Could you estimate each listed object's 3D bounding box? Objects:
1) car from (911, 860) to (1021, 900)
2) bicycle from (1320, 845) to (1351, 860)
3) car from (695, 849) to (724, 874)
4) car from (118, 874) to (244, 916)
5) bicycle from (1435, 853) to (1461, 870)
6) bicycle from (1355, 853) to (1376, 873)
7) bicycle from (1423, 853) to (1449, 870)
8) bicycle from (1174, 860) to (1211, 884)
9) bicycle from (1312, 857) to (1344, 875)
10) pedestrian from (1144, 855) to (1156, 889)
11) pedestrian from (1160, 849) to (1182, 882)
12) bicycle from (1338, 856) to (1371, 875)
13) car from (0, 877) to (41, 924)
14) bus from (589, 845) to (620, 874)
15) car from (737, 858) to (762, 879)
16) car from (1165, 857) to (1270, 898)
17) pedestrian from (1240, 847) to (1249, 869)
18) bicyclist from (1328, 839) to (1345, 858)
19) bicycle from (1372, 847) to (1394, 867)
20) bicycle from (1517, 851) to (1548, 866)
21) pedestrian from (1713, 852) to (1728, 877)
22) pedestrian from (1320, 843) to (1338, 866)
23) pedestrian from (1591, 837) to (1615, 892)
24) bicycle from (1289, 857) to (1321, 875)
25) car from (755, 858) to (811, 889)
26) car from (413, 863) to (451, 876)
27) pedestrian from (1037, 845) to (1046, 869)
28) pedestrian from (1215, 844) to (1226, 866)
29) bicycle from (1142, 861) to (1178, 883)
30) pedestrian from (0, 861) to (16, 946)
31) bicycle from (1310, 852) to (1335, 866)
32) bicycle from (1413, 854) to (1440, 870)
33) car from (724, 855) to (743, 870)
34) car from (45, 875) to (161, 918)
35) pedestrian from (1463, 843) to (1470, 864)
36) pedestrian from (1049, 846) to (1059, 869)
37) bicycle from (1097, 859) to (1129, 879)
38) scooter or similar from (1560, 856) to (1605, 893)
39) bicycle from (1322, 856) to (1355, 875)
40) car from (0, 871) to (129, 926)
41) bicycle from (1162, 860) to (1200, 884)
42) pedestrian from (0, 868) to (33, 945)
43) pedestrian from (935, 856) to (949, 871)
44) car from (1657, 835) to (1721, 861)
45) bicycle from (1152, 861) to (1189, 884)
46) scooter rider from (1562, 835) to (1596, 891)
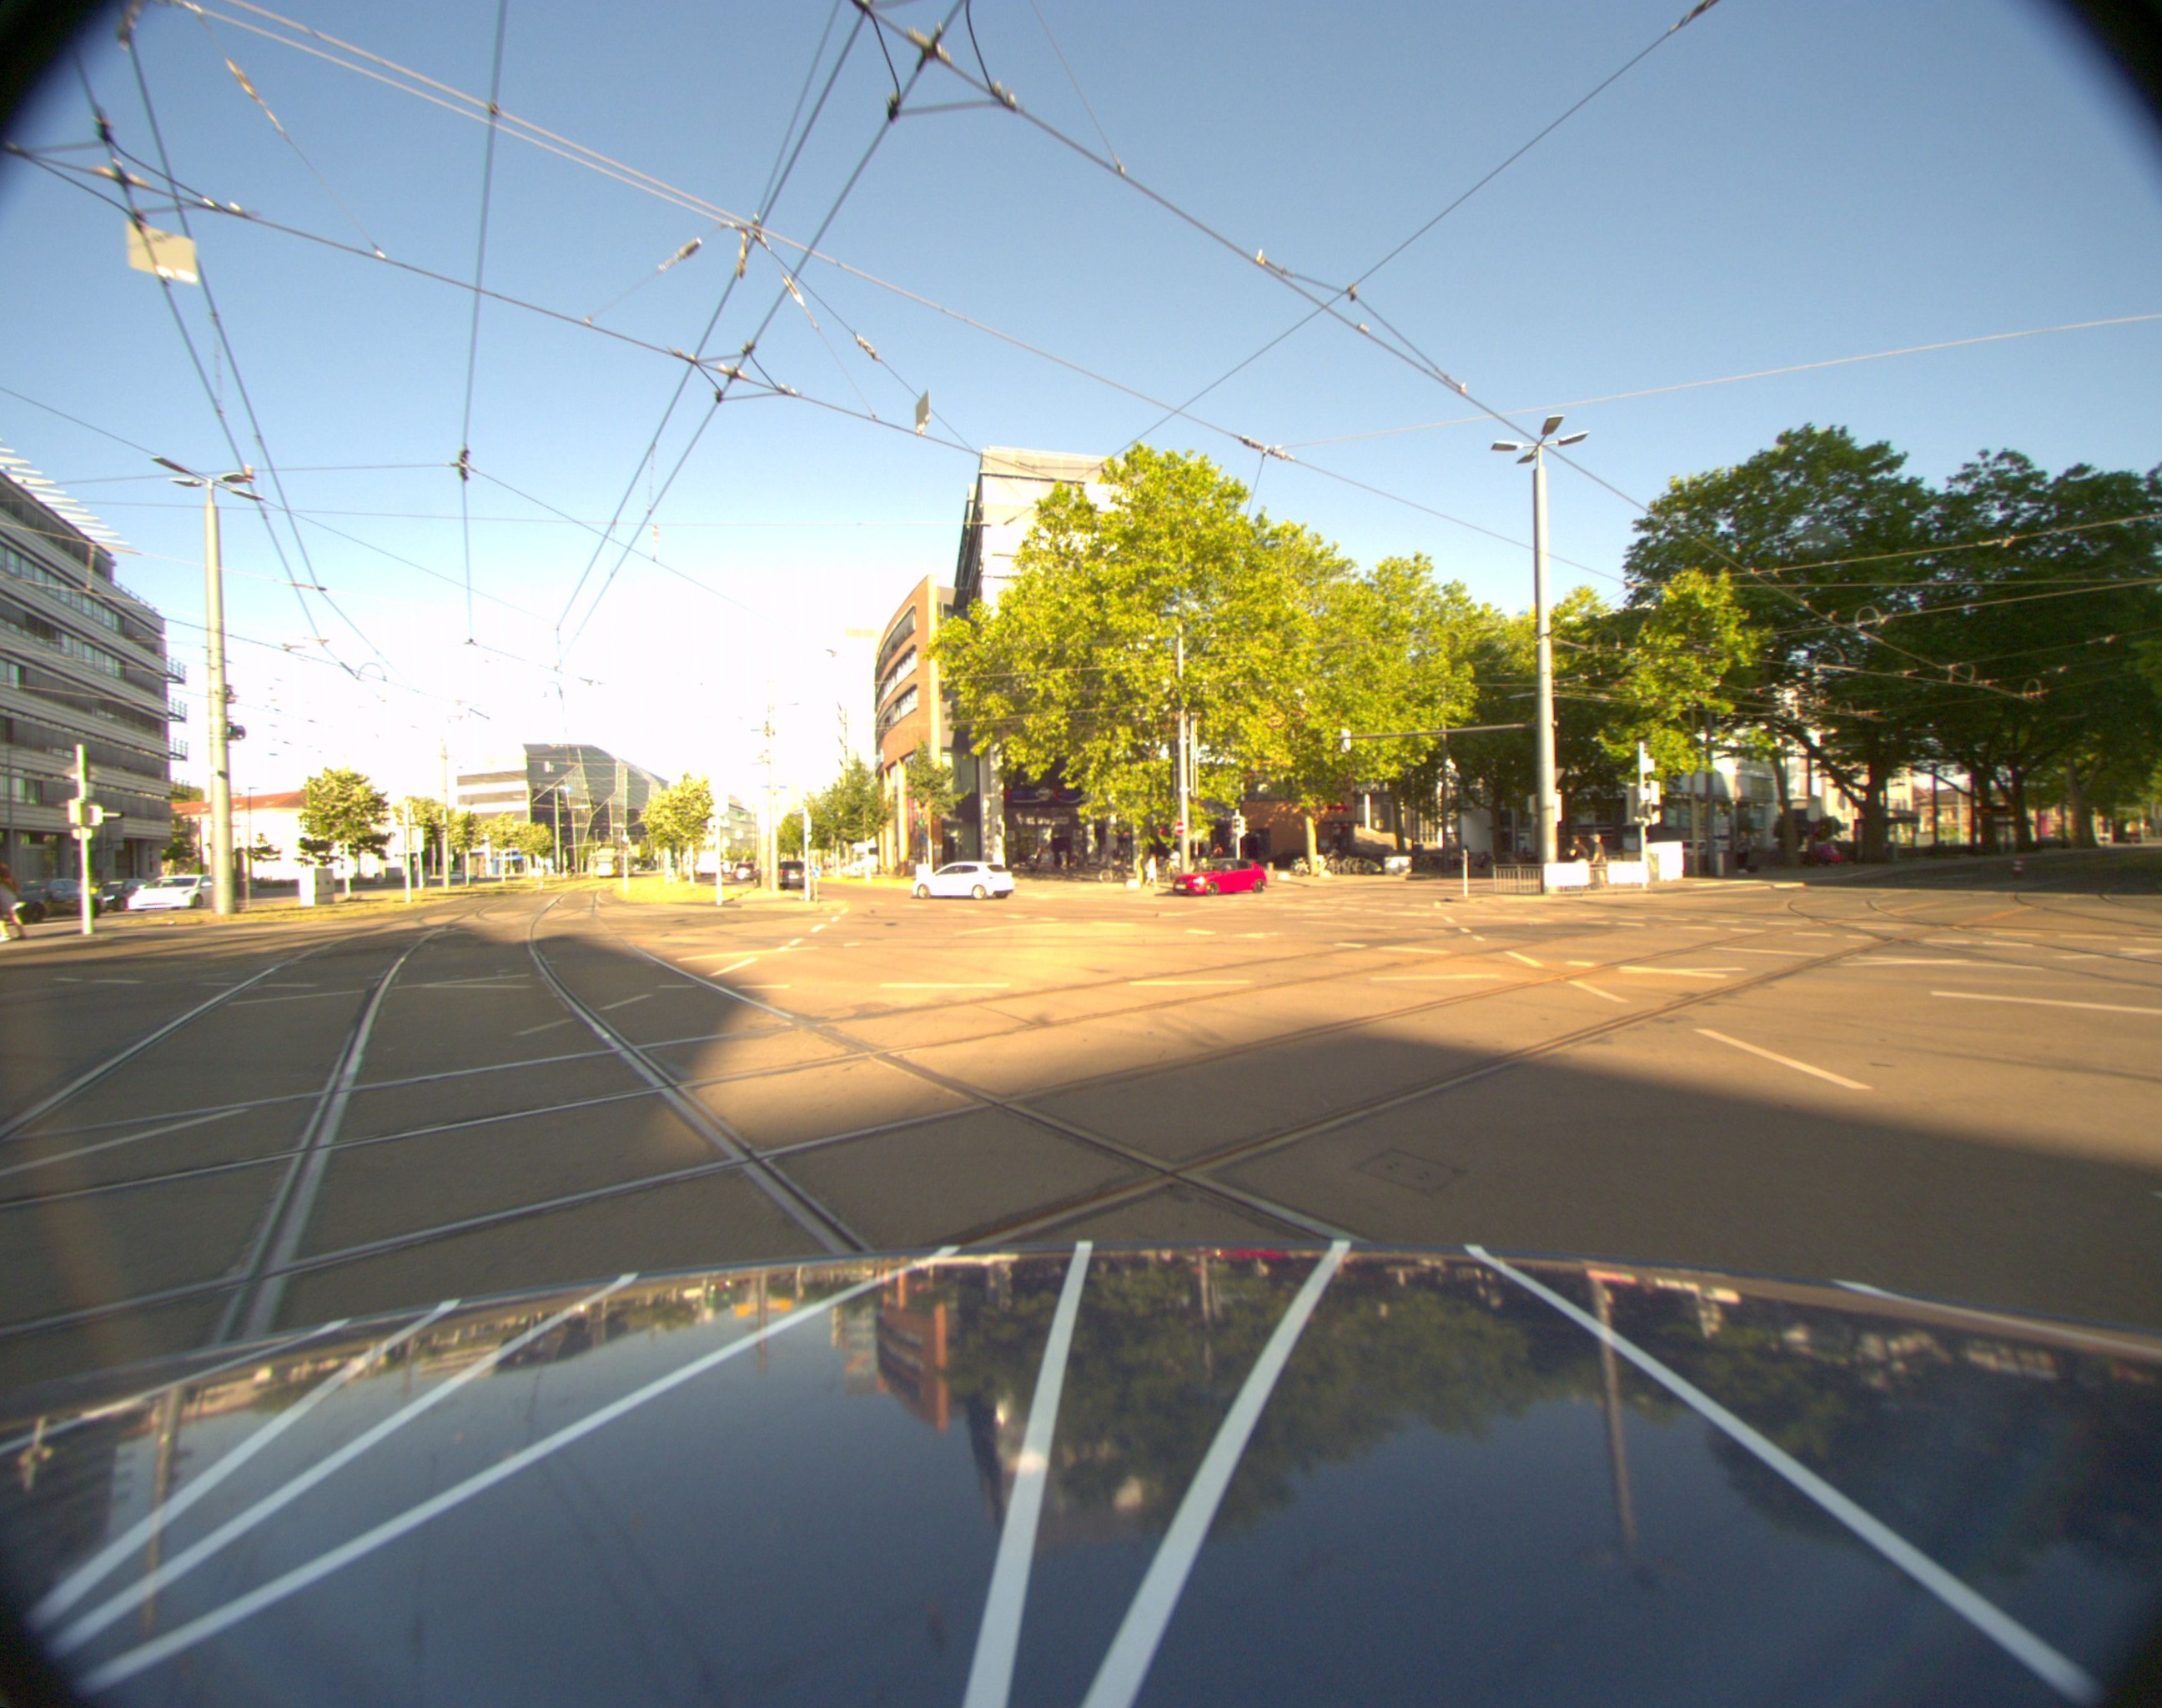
[{"bbox_3d":[-4.499,1.014,29.711,3.990,1.443,1.639,-2,0,25],"label":"car"},{"bbox_3d":[18.310,-0.118,54.618,2.014,1.061,0.695,-1,1,-5],"label":"bicycle"},{"bbox_3d":[-38.977,0.863,79.564,2.003,2.465,5.960,-2,0,-33],"label":"car"},{"bbox_3d":[-38.181,1.682,32.384,1.907,1.611,4.163,-2,0,-26],"label":"car"},{"bbox_3d":[23.903,0.485,49.470,1.950,1.057,0.577,-1,1,-31],"label":"bicycle"},{"bbox_3d":[17.844,0.527,47.772,0.782,1.182,3.561,-1,0,13],"label":"bicycle"},{"bbox_3d":[23.450,0.505,50.158,1.950,1.057,0.577,-1,1,-31],"label":"bicycle"},{"bbox_3d":[5.618,0.888,38.259,1.847,1.123,0.773,-1,1,-35],"label":"bicycle"},{"bbox_3d":[15.170,0.718,46.670,1.950,1.057,0.781,-1,1,-31],"label":"bicycle"},{"bbox_3d":[3.178,0.804,34.896,0.484,1.529,0.573,-1,1,4],"label":"pedestrian"},{"bbox_3d":[4.929,0.623,41.458,0.894,1.754,0.730,-1,-1,-25],"label":"pedestrian"},{"bbox_3d":[16.253,0.672,45.189,1.950,1.057,0.781,-1,1,-31],"label":"bicycle"},{"bbox_3d":[-38.078,1.617,25.536,1.907,1.611,4.163,-2,0,-26],"label":"car"},{"bbox_3d":[-58.732,0.753,93.610,2.731,3.388,9.644,-2,0,-35],"label":"bus"},{"bbox_3d":[-28.111,1.203,64.476,1.867,1.622,4.255,-2,0,-23],"label":"car"},{"bbox_3d":[5.361,0.865,29.609,4.007,1.419,1.688,-1,0,-35],"label":"car"},{"bbox_3d":[12.574,0.330,58.321,0.543,1.660,0.570,-1,1,-2],"label":"pedestrian"},{"bbox_3d":[18.364,-0.388,54.614,0.958,1.337,0.675,-1,1,-5],"label":"bicyclist"},{"bbox_3d":[18.994,0.161,47.887,0.782,1.182,3.561,-1,0,13],"label":"bicycle"},{"bbox_3d":[33.360,0.313,56.178,0.579,1.057,1.942,-1,0,-26],"label":"bicycle"},{"bbox_3d":[26.178,0.434,31.092,0.379,1.026,0.405,-2,1,-38],"label":"pedestrian"},{"bbox_3d":[16.886,0.032,51.701,0.877,1.533,0.764,-2,1,-37],"label":"pedestrian"},{"bbox_3d":[17.368,0.344,25.298,0.568,1.786,0.674,0,1,42],"label":"pedestrian"},{"bbox_3d":[13.941,0.762,47.342,1.950,1.057,0.781,-1,1,-31],"label":"bicycle"},{"bbox_3d":[-16.307,1.056,41.483,1.622,1.593,4.164,1,-1,-40],"label":"car"},{"bbox_3d":[-97.797,2.324,114.574,1.994,1.849,4.008,-1,1,40],"label":"car"},{"bbox_3d":[-2.877,0.231,55.138,0.592,1.745,0.595,-1,1,0],"label":"pedestrian"},{"bbox_3d":[10.489,0.074,57.214,0.571,1.660,0.543,-1,1,-17],"label":"pedestrian"},{"bbox_3d":[4.184,0.949,40.251,1.847,1.123,0.773,-1,1,-35],"label":"bicycle"},{"bbox_3d":[-23.719,1.076,16.282,0.697,1.832,0.969,0,1,38],"label":"pedestrian"},{"bbox_3d":[18.421,0.365,58.016,0.696,1.061,2.011,-1,1,-19],"label":"bicycle"},{"bbox_3d":[23.138,0.522,50.887,1.950,1.057,0.577,-1,1,-31],"label":"bicycle"},{"bbox_3d":[-48.640,1.174,106.471,1.612,2.002,3.882,-1,0,-13],"label":"car"},{"bbox_3d":[-41.671,1.740,32.499,1.631,1.587,3.990,-2,1,-31],"label":"car"},{"bbox_3d":[28.749,-0.007,56.638,0.409,1.546,0.448,-1,1,29],"label":"pedestrian"},{"bbox_3d":[-1.967,0.276,55.073,0.595,1.647,0.592,-1,1,-13],"label":"pedestrian"},{"bbox_3d":[1.703,0.802,40.379,1.702,1.030,0.547,-1,1,-31],"label":"bicycle"},{"bbox_3d":[16.473,0.659,24.955,0.456,1.172,1.157,-2,1,-26],"label":"scooter or similar"},{"bbox_3d":[15.585,0.699,45.945,1.950,1.057,0.781,-1,1,-31],"label":"bicycle"},{"bbox_3d":[-33.245,1.387,24.168,1.907,1.611,4.515,-2,0,-26],"label":"car"},{"bbox_3d":[5.126,0.909,38.912,1.847,1.123,0.773,-1,1,-35],"label":"bicycle"},{"bbox_3d":[-24.105,1.163,16.910,0.646,1.678,0.848,0,1,40],"label":"pedestrian"},{"bbox_3d":[-10.351,0.731,56.538,0.778,1.075,0.679,-2,1,-43],"label":"pedestrian"},{"bbox_3d":[49.282,-0.505,61.575,4.971,1.934,1.969,-1,0,-24],"label":"car"},{"bbox_3d":[4.657,0.929,39.580,1.847,1.123,0.773,-1,1,-35],"label":"bicycle"},{"bbox_3d":[16.424,0.298,25.063,0.589,1.822,0.762,-2,1,-27],"label":"scooter rider"}]
